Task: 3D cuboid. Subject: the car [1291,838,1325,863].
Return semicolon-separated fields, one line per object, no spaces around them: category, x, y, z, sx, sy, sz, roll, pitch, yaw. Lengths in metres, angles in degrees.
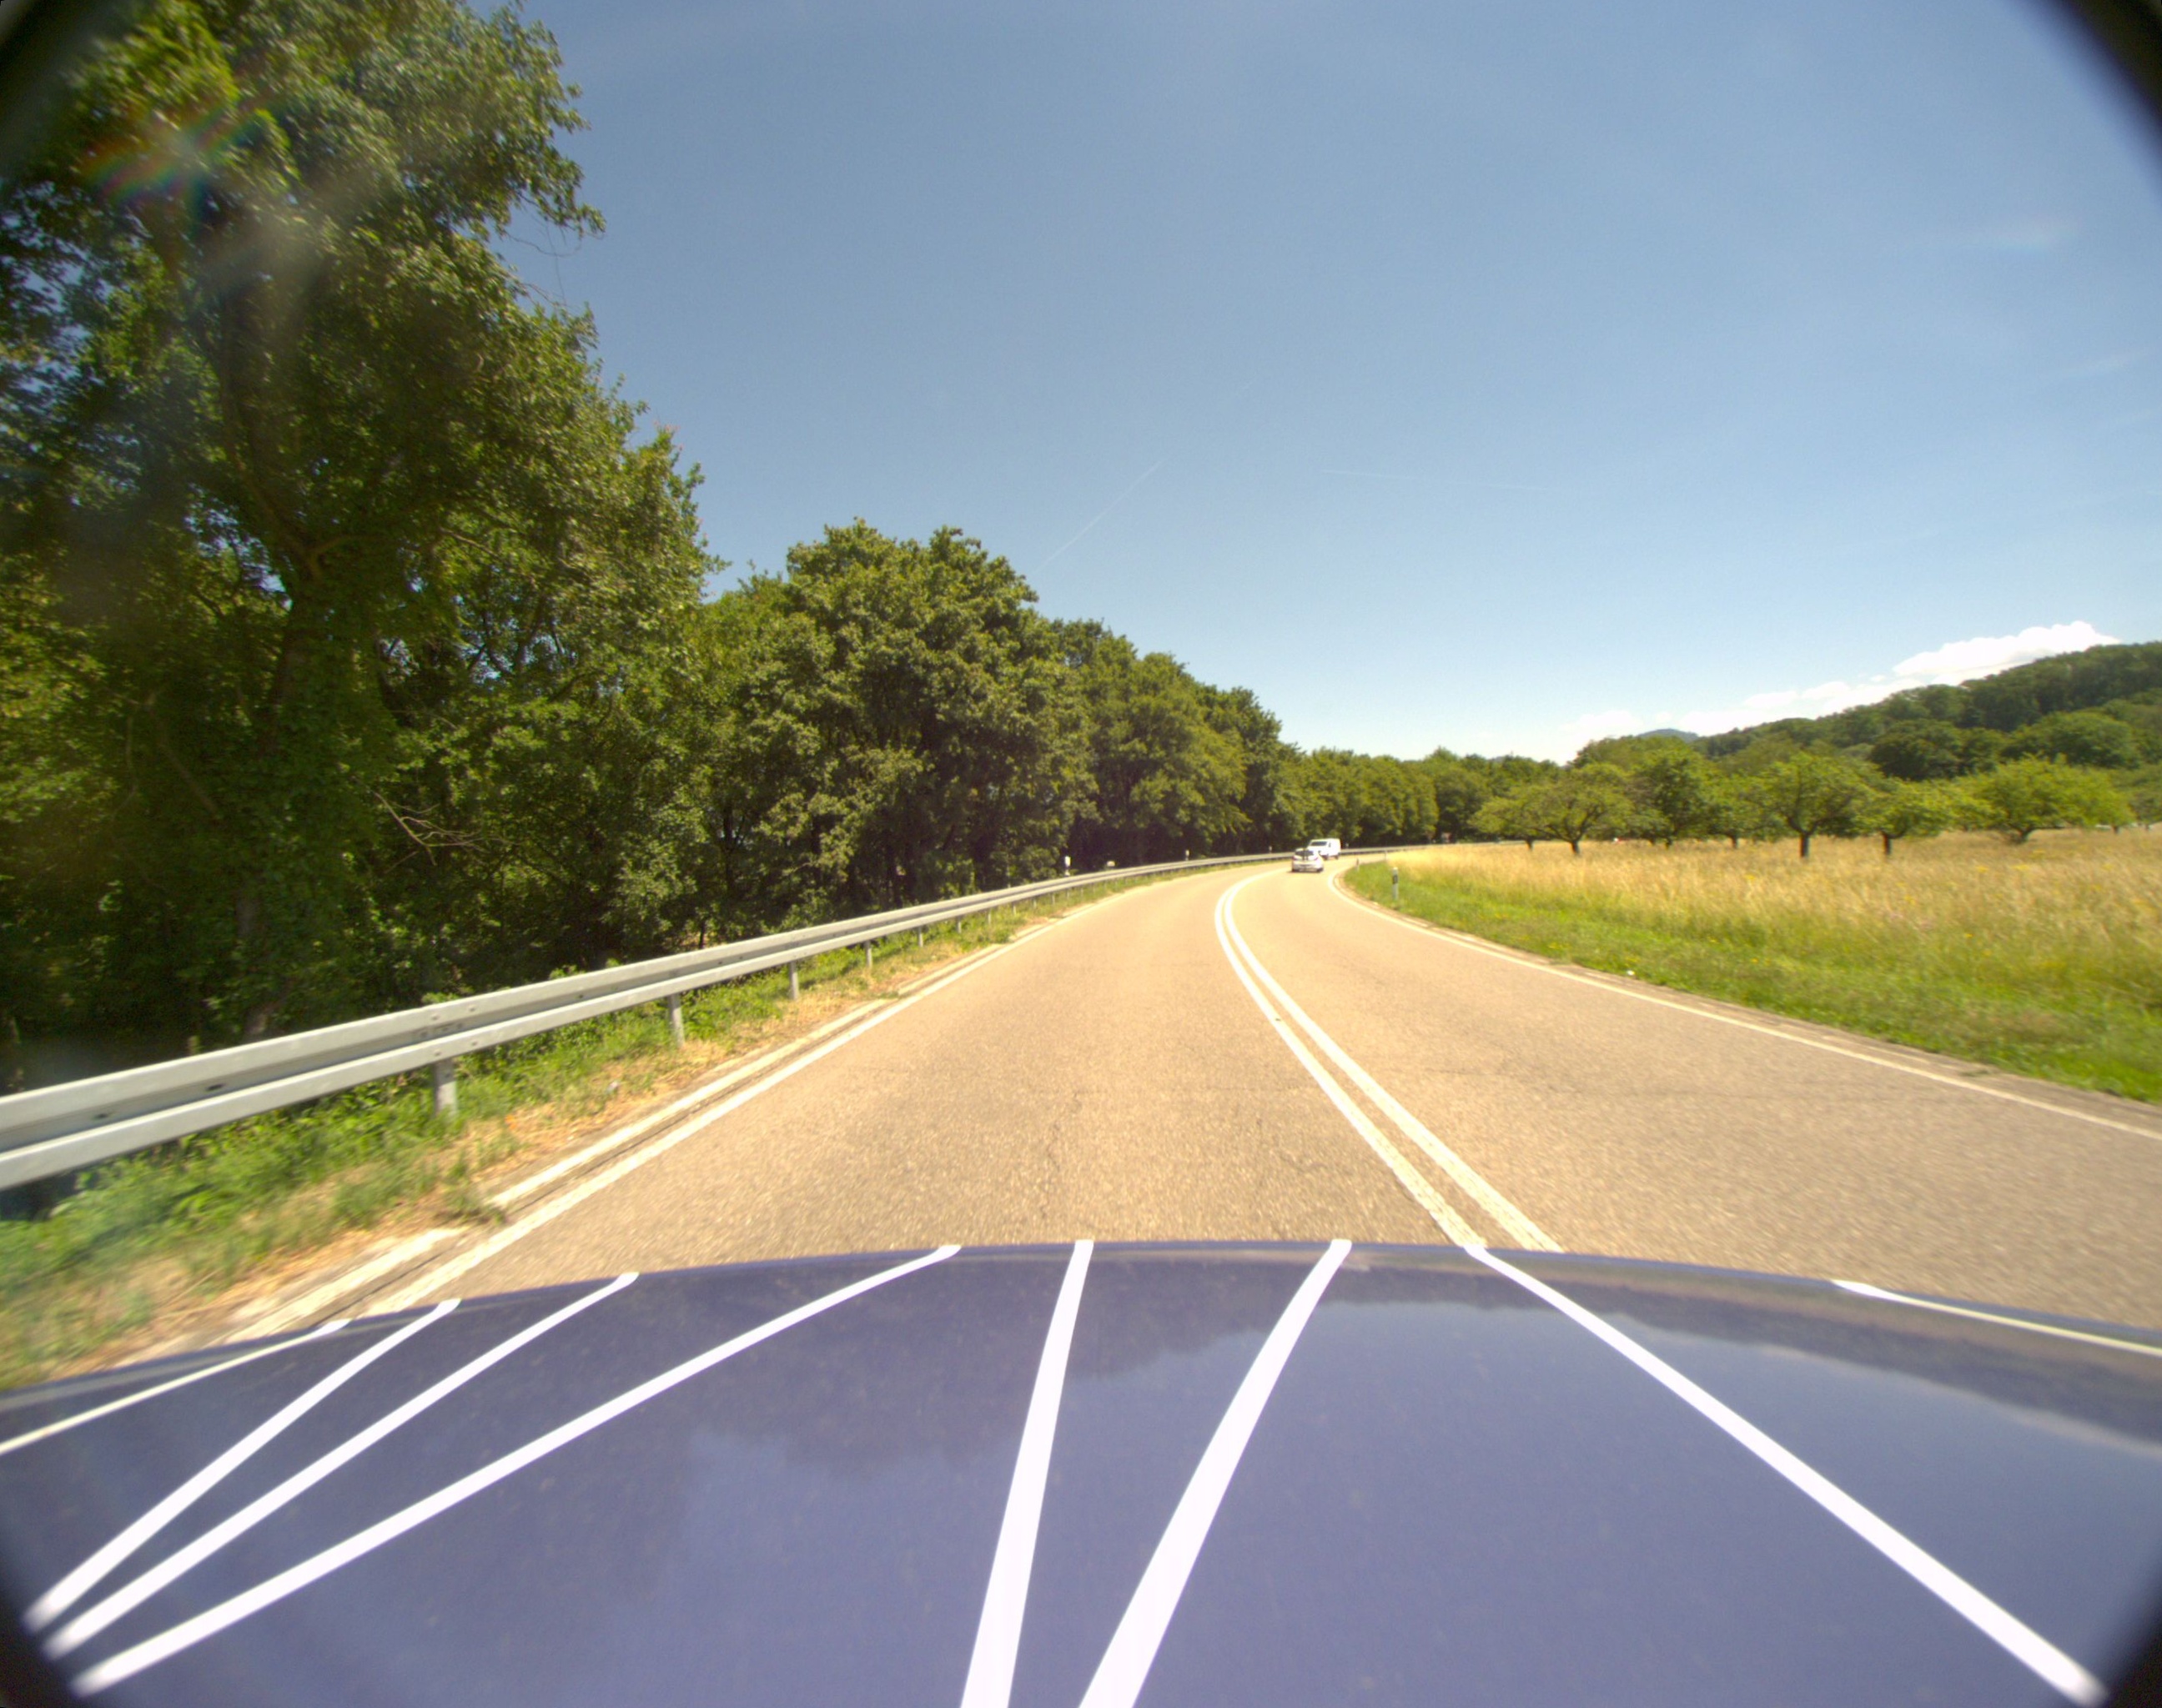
car;14.033;-0.233;46.896;1.824;1.498;4.177;1;1;19

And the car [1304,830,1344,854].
car;23.405;-1.189;72.974;2.219;2.023;5.435;3;5;33

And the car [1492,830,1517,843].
car;57.555;-2.401;103.291;1.822;1.450;4.408;5;6;45
